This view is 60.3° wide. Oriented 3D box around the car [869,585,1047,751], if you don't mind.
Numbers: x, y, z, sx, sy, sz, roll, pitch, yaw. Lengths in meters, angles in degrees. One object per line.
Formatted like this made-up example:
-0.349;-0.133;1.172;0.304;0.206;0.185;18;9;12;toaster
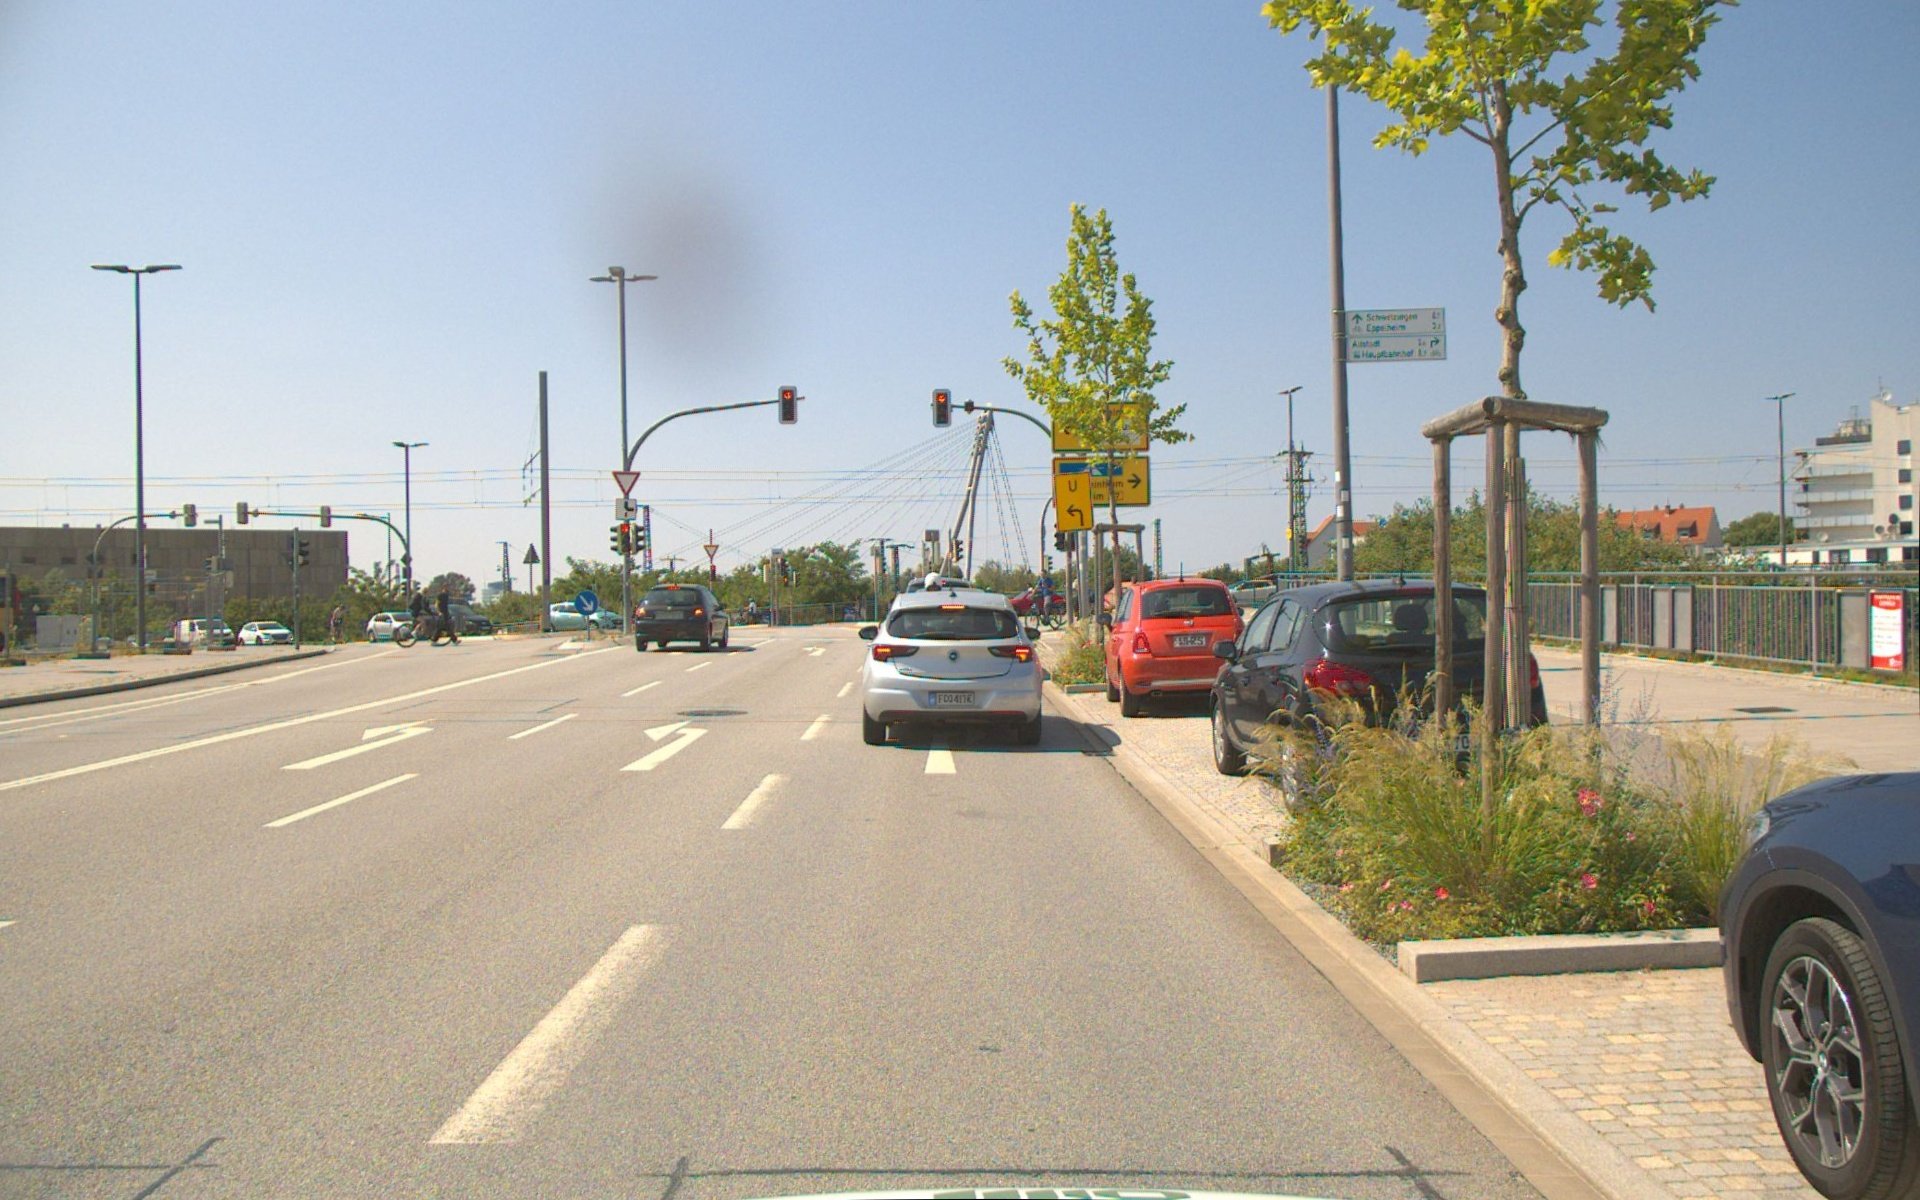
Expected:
-0.045;0.623;17.565;1.656;1.546;4.270;0;0;-1;car

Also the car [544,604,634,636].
-16.982;0.906;75.766;3.710;1.386;1.533;-1;1;18;car

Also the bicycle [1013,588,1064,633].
2.397;0.302;50.295;0.711;1.153;2.534;-4;3;21;bicycle

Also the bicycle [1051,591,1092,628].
3.585;0.307;53.030;0.661;1.147;2.365;1;0;20;bicycle

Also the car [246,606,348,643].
-29.961;1.122;74.802;3.891;1.578;1.676;-1;-1;4;car

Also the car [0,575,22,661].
-23.163;0.369;35.893;1.961;1.923;4.466;0;-1;38;car

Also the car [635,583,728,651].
-6.161;0.370;36.855;1.555;1.419;3.339;0;0;-1;car

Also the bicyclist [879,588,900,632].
-2.480;0.342;58.429;0.704;1.530;0.824;0;-1;0;bicyclist

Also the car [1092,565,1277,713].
2.644;0.443;20.312;1.636;1.567;3.916;-2;0;-1;car

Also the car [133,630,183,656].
-46.511;2.472;95.897;1.652;1.414;3.728;1;-1;-42;car

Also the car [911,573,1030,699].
0.113;0.504;24.522;1.601;1.703;3.744;1;0;-1;car

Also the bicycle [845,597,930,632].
-2.117;0.430;48.584;2.453;1.025;0.605;0;0;0;bicycle

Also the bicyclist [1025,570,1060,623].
2.517;-0.103;50.581;0.843;1.587;0.825;1;-1;22;bicyclist

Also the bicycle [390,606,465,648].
-15.617;0.793;48.560;2.047;1.198;0.553;1;-1;-17;bicycle

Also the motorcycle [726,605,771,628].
-11.949;0.928;93.459;2.485;1.255;0.648;1;-1;-1;motorcycle

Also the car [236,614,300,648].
-39.618;1.740;94.614;3.975;1.846;1.920;0;0;43;car

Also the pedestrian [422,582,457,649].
-14.903;0.446;47.396;0.725;1.896;0.753;1;-1;0;pedestrian

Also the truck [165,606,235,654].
-42.398;1.632;92.250;4.628;2.585;1.986;0;0;44;truck

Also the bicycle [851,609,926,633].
-2.135;0.635;49.390;2.200;0.704;0.516;0;0;0;bicycle

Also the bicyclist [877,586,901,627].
-2.111;0.204;49.389;0.643;1.196;0.731;1;-1;1;bicyclist

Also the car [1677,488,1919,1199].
3.014;0.568;2.654;1.767;1.712;4.270;-2;0;-1;car

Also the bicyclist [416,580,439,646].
-15.627;0.369;48.564;0.584;1.920;0.634;1;-1;-15;bicyclist

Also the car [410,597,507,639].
-22.529;0.817;74.371;3.669;1.609;1.816;-1;6;2;car

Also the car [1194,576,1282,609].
14.717;-0.389;87.492;4.179;1.703;1.990;0;0;-18;car

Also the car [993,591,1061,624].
3.502;0.380;87.136;3.318;1.684;1.644;1;-1;-10;car

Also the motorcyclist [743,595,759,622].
-11.792;0.496;93.462;0.792;1.502;0.885;1;-1;0;motorcyclist

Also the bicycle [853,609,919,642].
-2.607;0.885;58.406;2.271;1.153;0.637;0;0;0;bicycle

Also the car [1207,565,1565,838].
2.877;0.598;11.897;1.549;1.582;3.546;-3;1;-1;car

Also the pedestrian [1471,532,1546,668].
7.706;0.003;23.255;0.742;1.862;0.885;1;-1;-1;pedestrian

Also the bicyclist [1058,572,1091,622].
3.684;-0.092;53.269;0.803;1.596;0.948;1;-1;20;bicyclist
